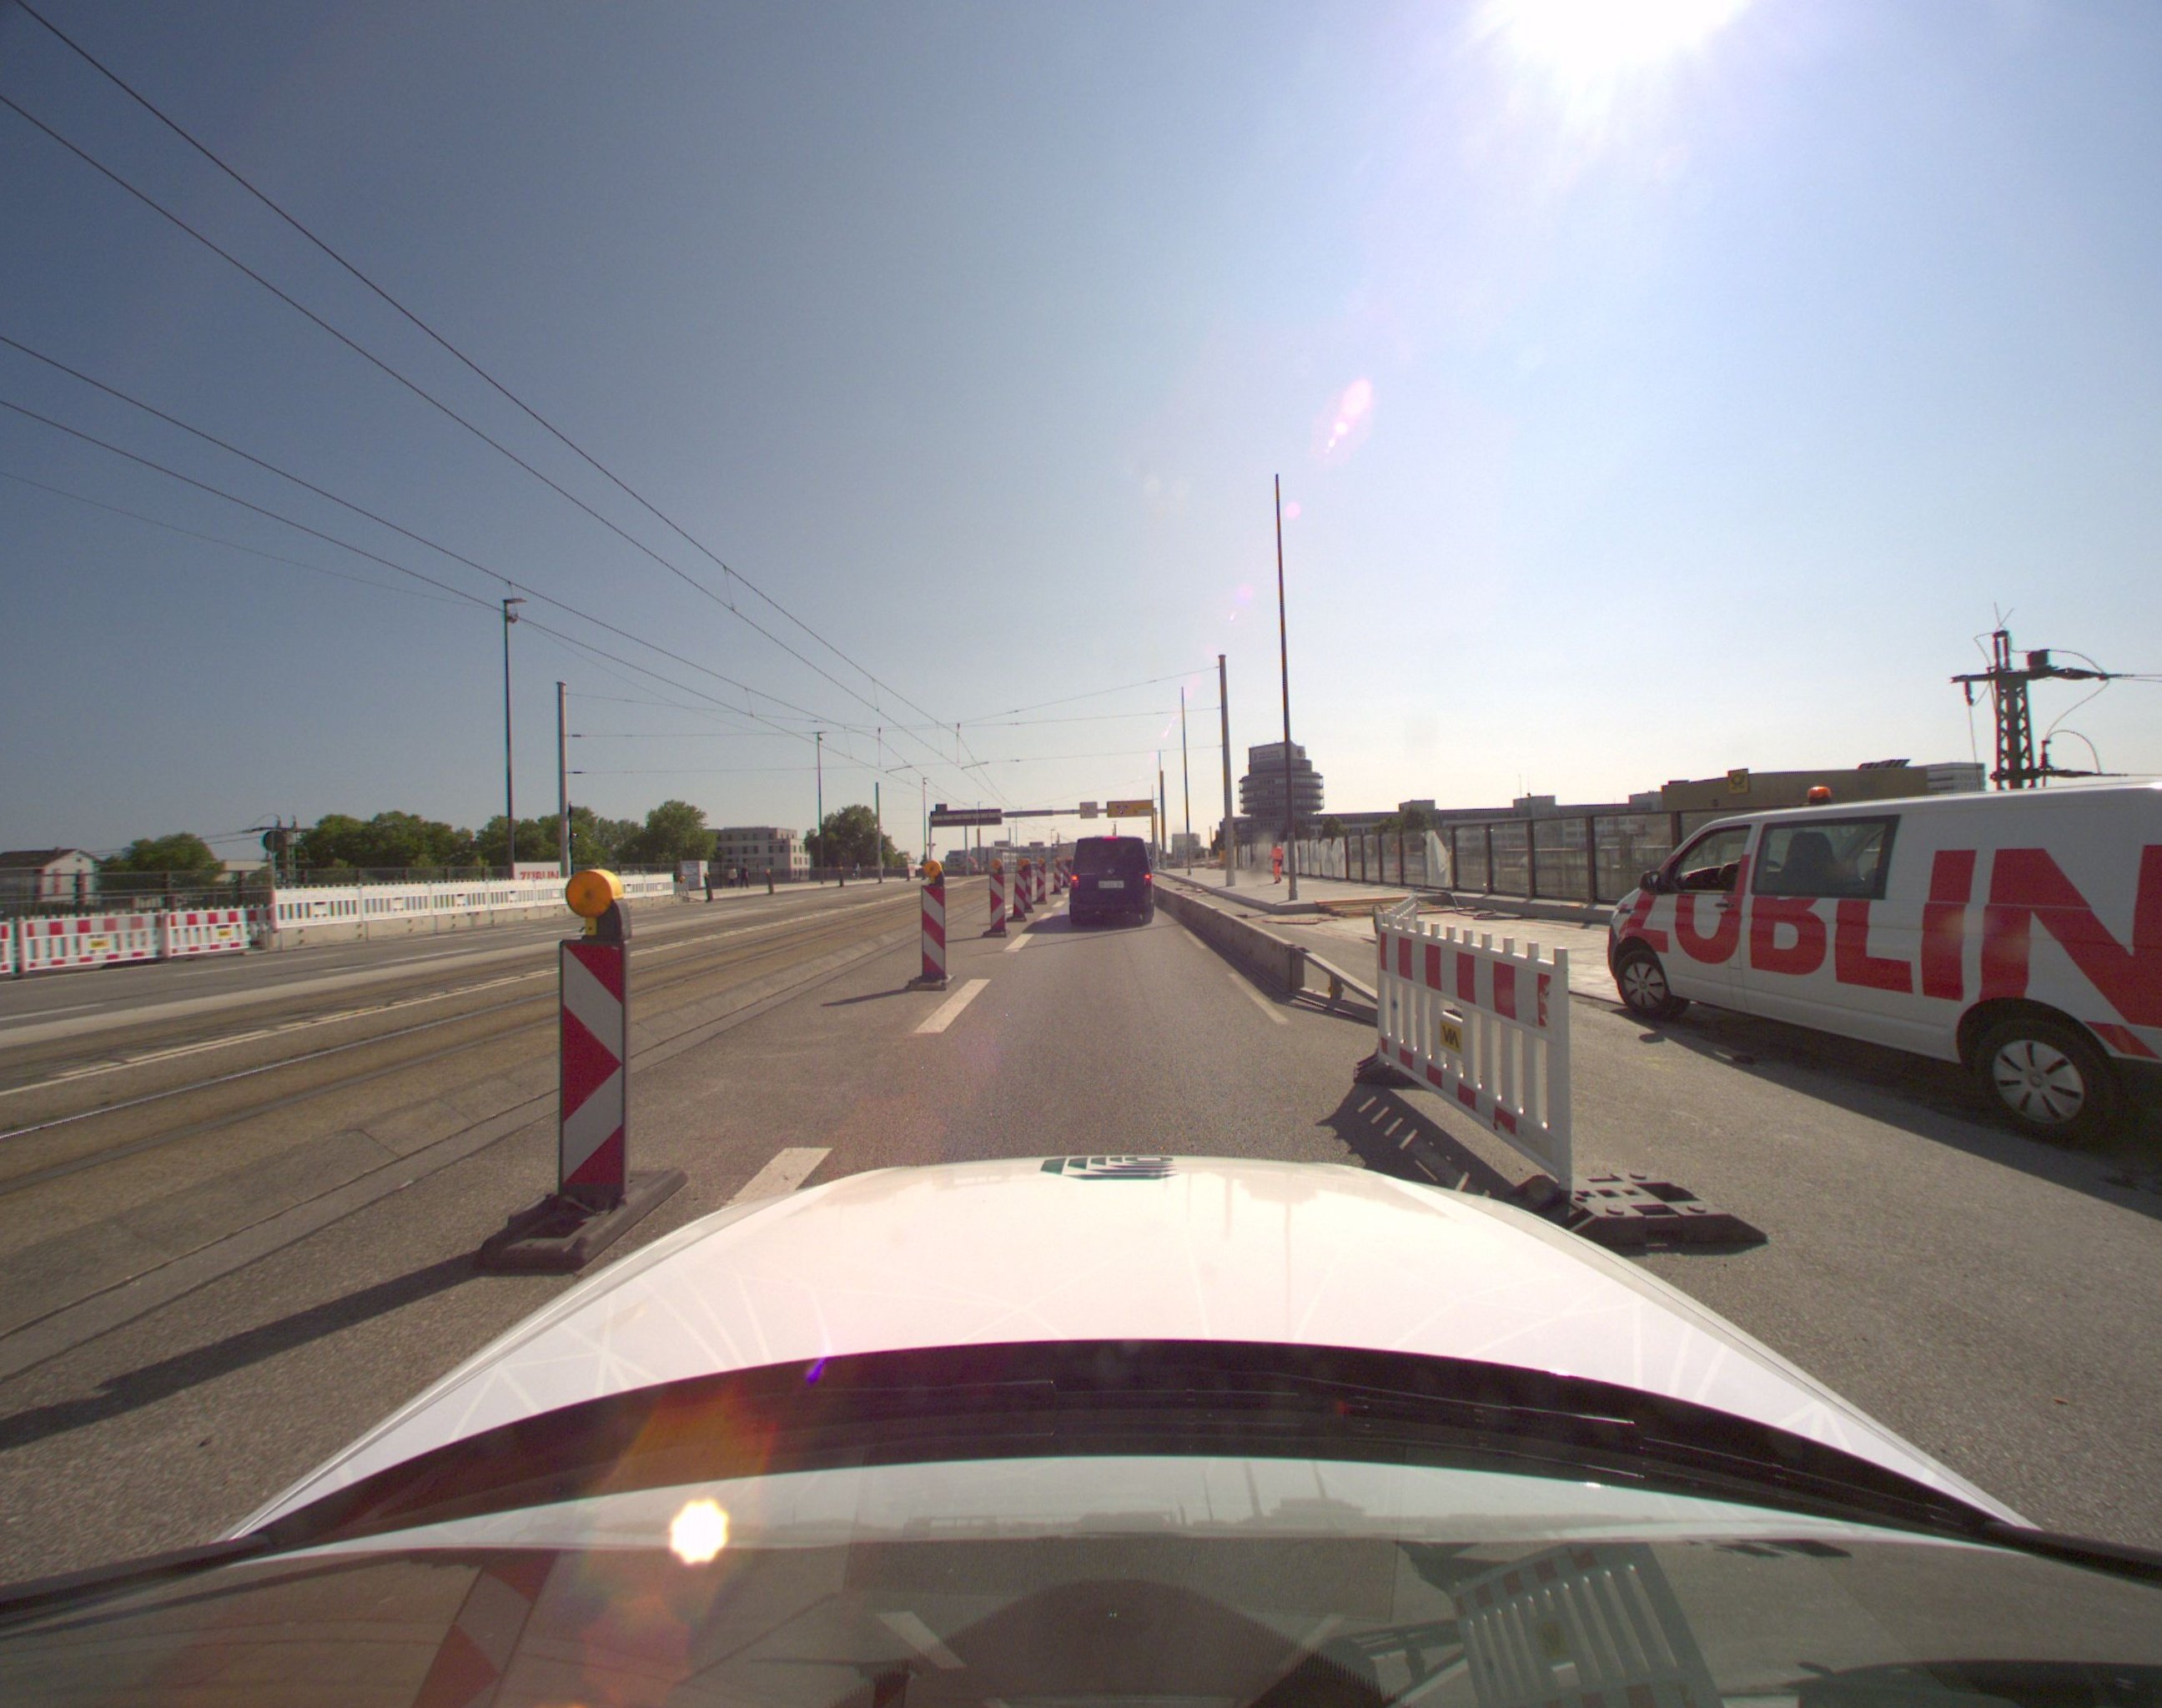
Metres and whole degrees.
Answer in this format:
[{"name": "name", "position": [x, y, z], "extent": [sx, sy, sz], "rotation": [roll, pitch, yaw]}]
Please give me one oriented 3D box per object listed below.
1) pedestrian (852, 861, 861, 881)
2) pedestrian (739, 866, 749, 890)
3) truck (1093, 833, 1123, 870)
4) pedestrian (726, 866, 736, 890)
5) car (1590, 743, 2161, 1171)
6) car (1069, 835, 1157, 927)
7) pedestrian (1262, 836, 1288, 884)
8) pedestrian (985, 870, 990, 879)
[{"name": "pedestrian", "position": [-21.391, 1.599, 77.586], "extent": [0.631, 1.893, 0.752], "rotation": [-1, 0, 1]}, {"name": "pedestrian", "position": [-23.891, 1.674, 57.753], "extent": [0.493, 1.694, 0.474], "rotation": [-1, -1, 1]}, {"name": "truck", "position": [2.543, -0.238, 76.705], "extent": [2.451, 3.134, 11.220], "rotation": [-2, 0, 2]}, {"name": "pedestrian", "position": [-24.783, 1.702, 57.625], "extent": [0.493, 1.694, 0.474], "rotation": [-1, -1, 1]}, {"name": "car", "position": [6.194, 0.493, 6.107], "extent": [1.871, 2.033, 4.895], "rotation": [-1, 0, 3]}, {"name": "car", "position": [0.748, 0.568, 19.430], "extent": [1.809, 1.905, 4.056], "rotation": [-2, 0, 2]}, {"name": "pedestrian", "position": [8.074, 0.250, 33.876], "extent": [0.779, 1.935, 0.800], "rotation": [-3, -1, 1]}, {"name": "pedestrian", "position": [-17.346, 3.735, 151.093], "extent": [0.631, 1.598, 0.752], "rotation": [-1, 0, 1]}]
